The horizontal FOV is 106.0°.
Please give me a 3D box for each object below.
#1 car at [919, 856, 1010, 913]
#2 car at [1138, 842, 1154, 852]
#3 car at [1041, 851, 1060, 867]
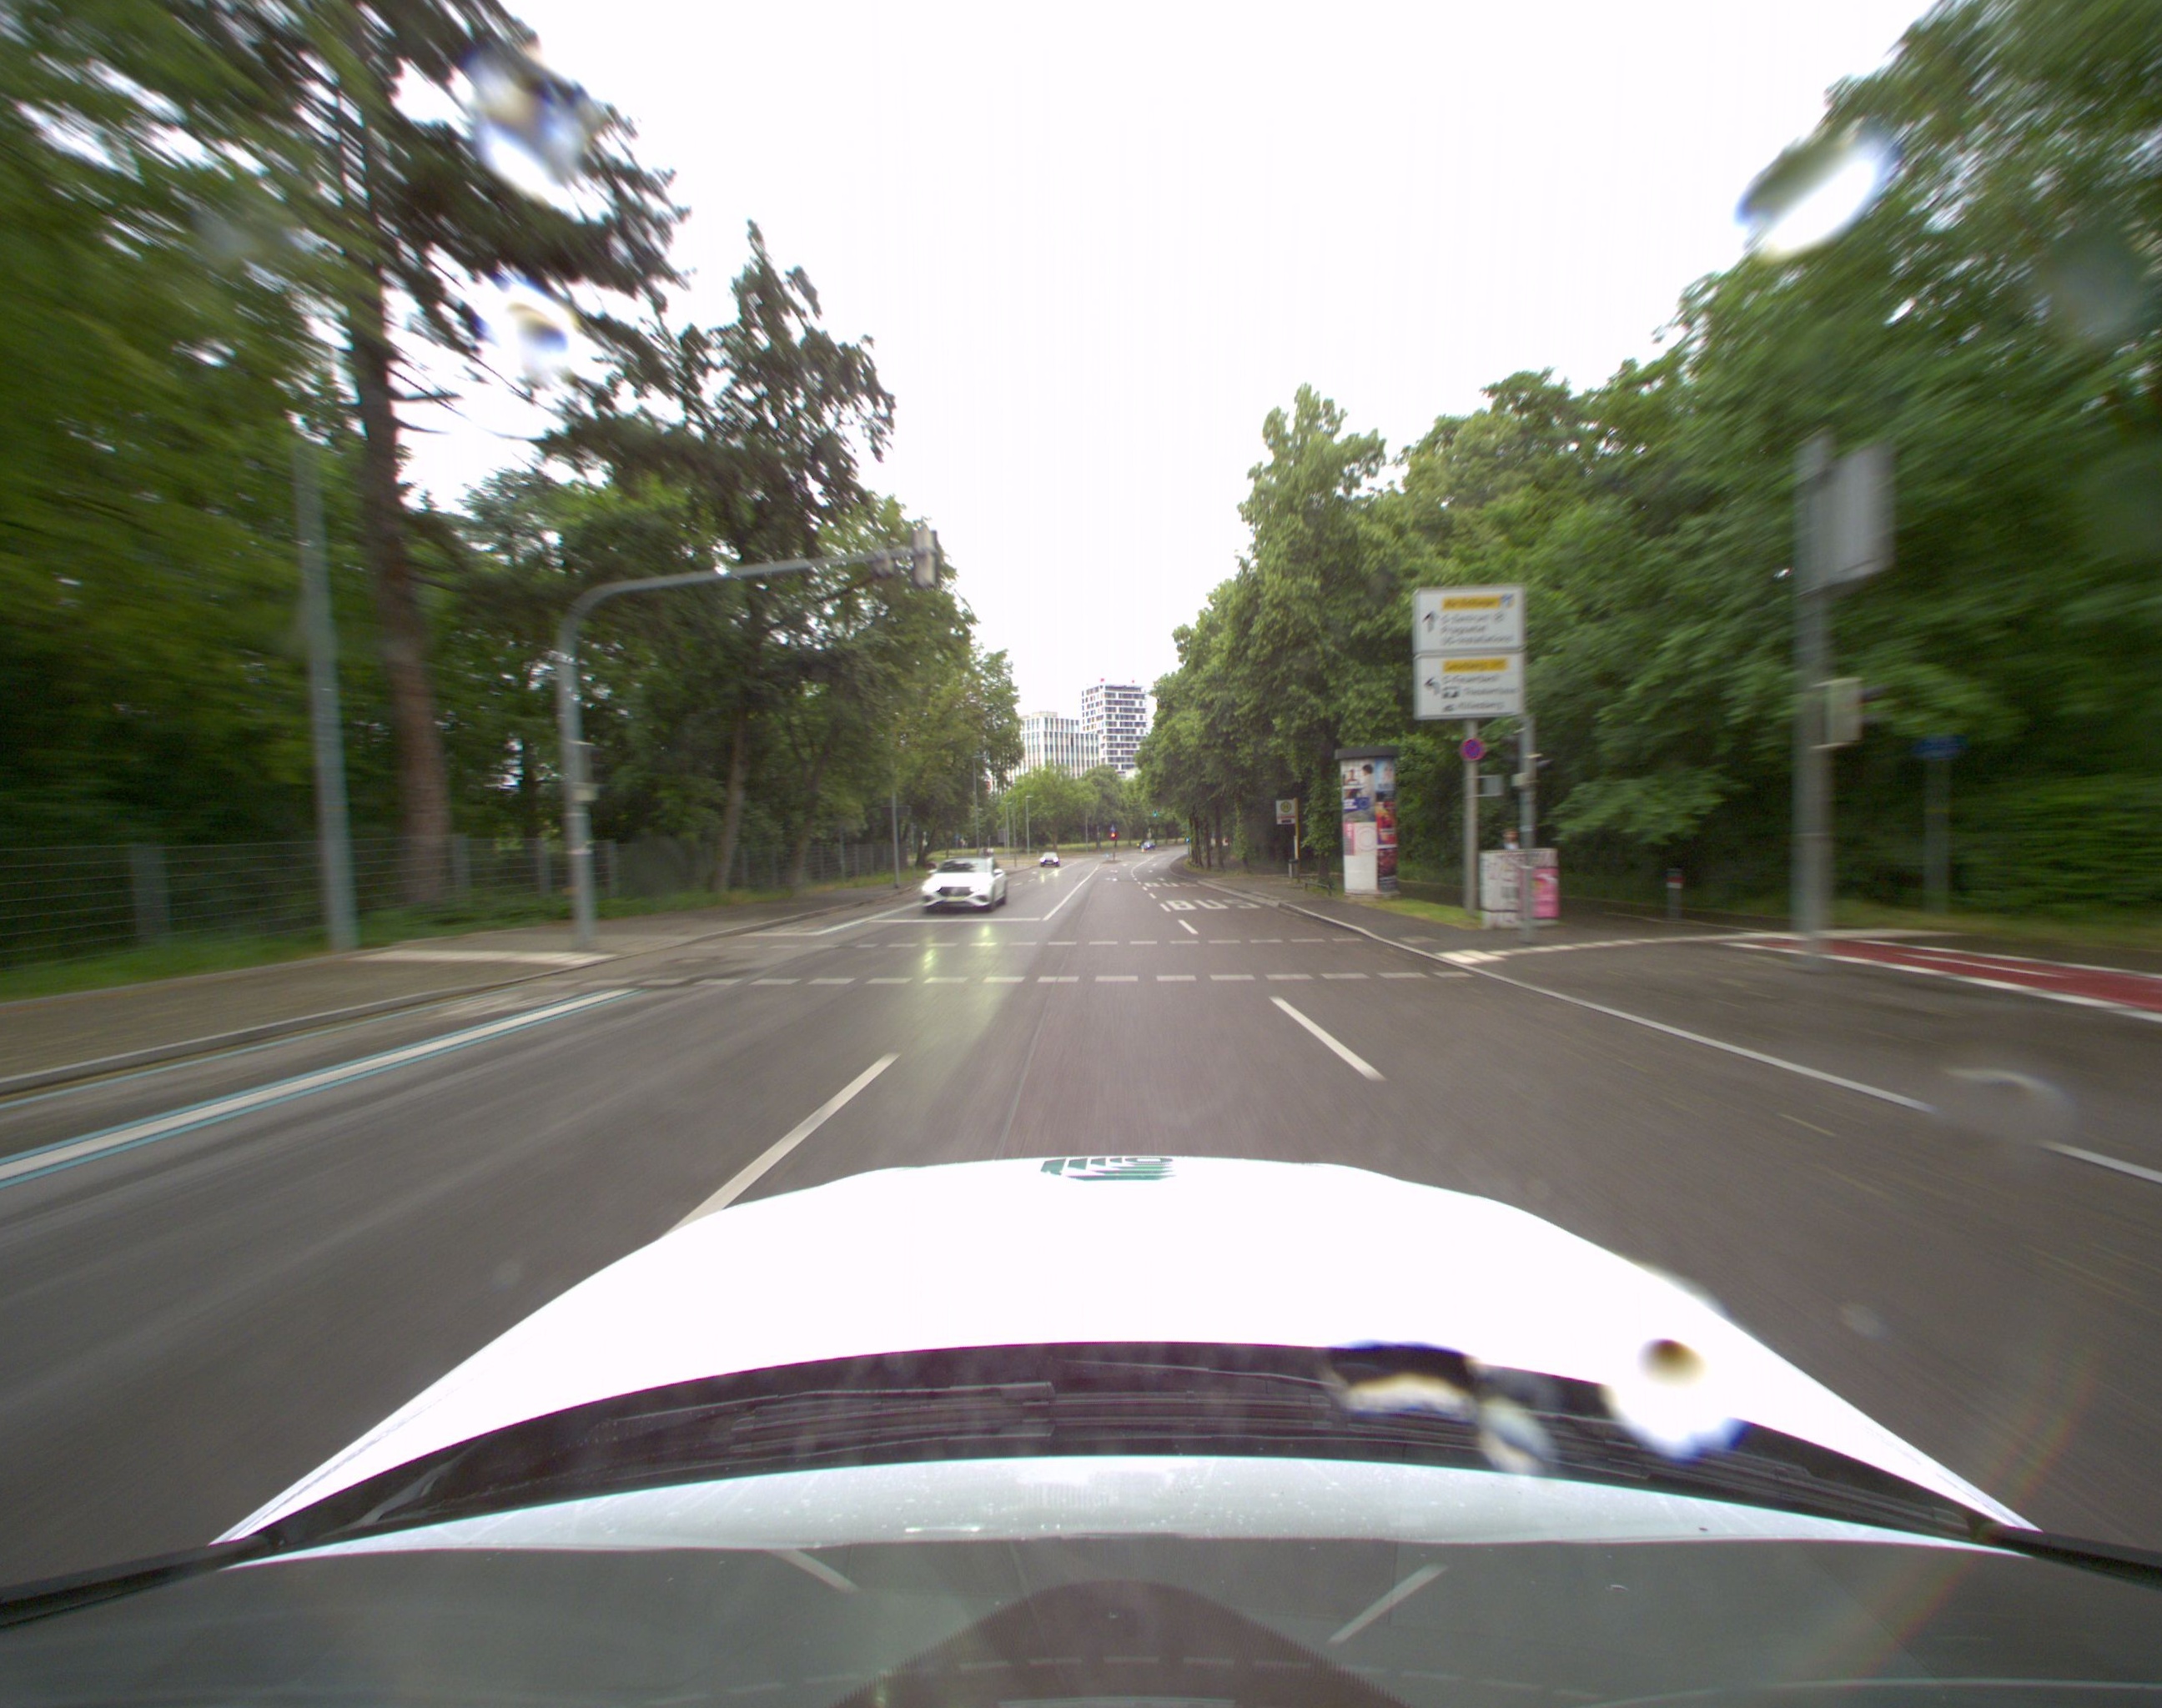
[{"bbox_3d":[-3.272,0.818,23.677,1.836,1.457,4.502,-1,0,2],"label":"car"},{"bbox_3d":[11.477,-1.204,143.148,1.978,1.685,4.018,-1,0,18],"label":"car"},{"bbox_3d":[-3.065,0.499,81.640,1.595,1.442,4.002,0,2,2],"label":"car"}]
